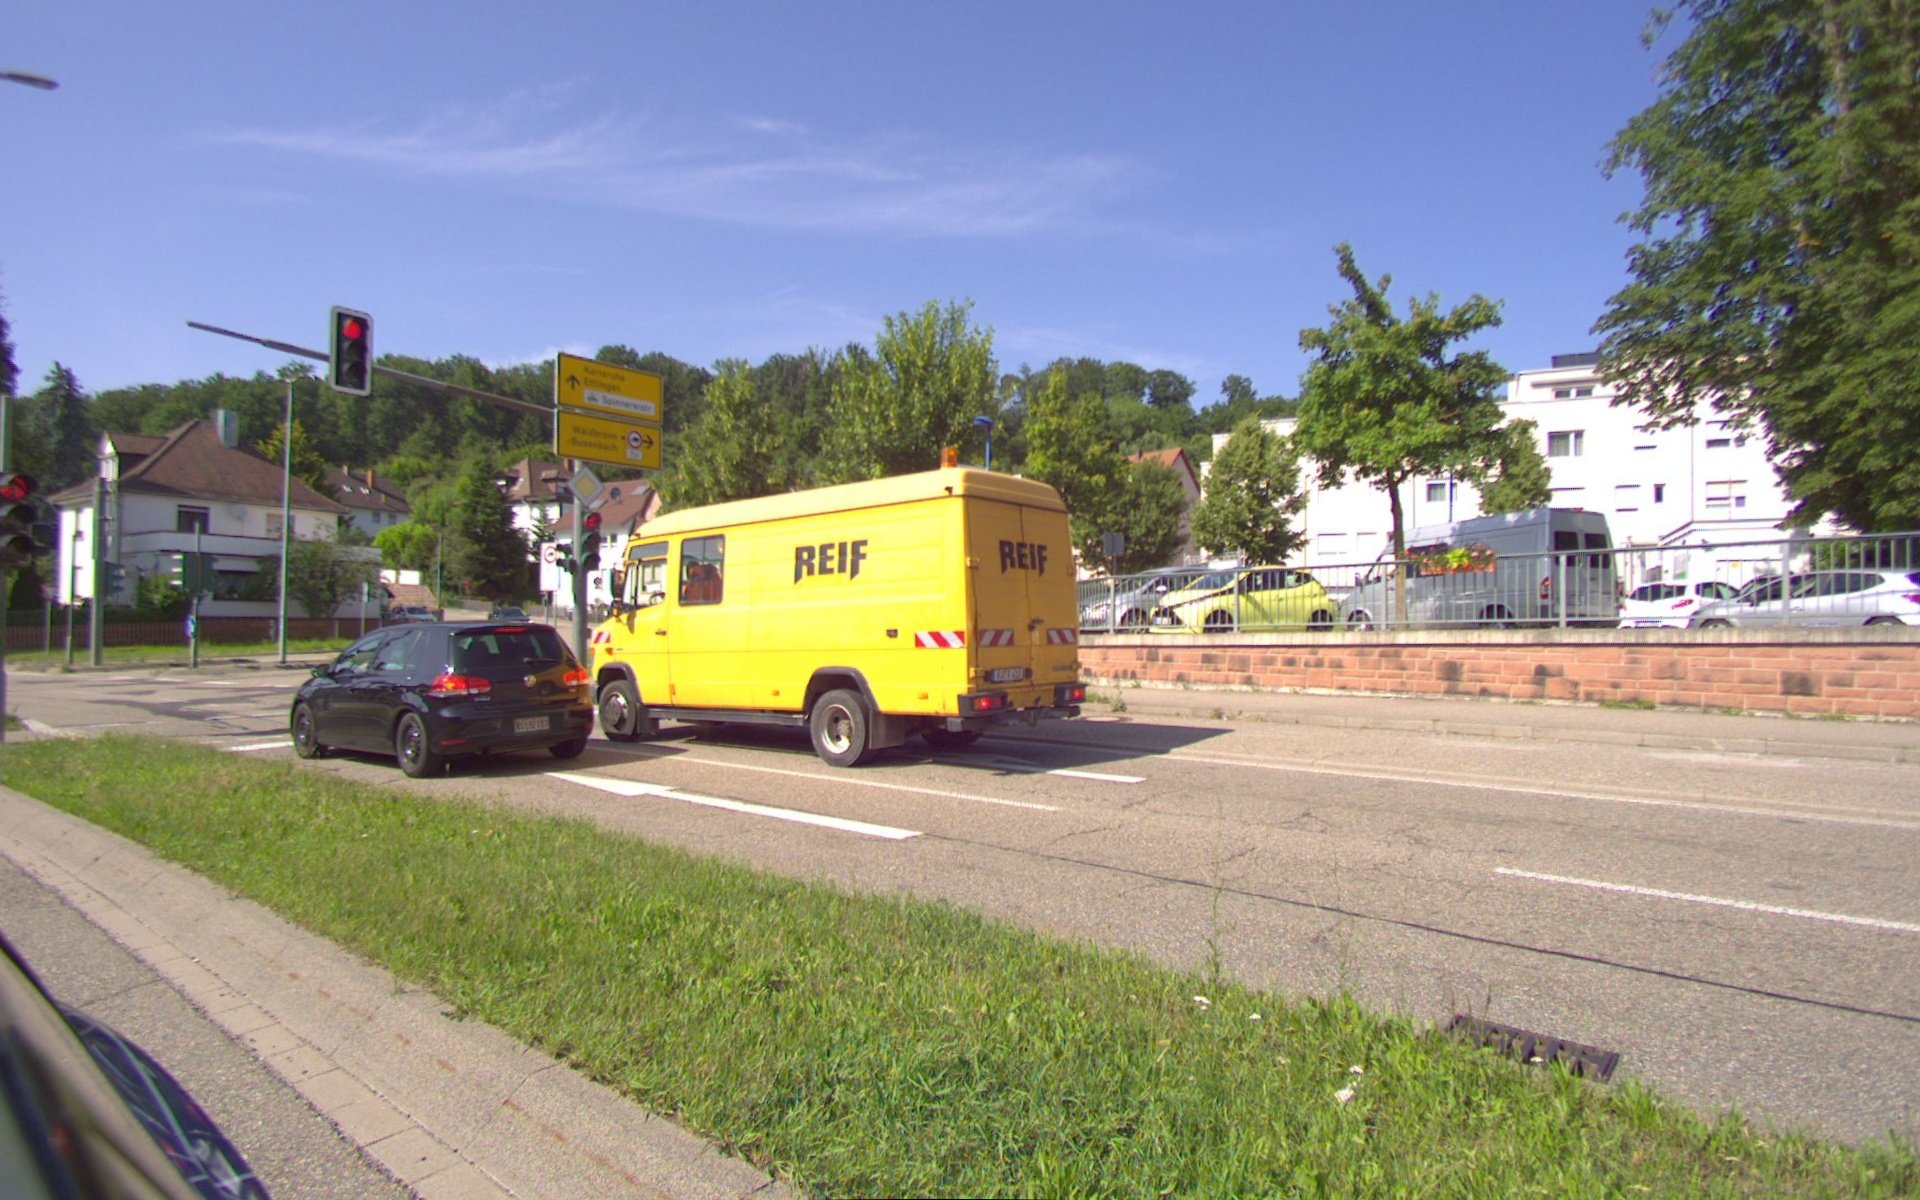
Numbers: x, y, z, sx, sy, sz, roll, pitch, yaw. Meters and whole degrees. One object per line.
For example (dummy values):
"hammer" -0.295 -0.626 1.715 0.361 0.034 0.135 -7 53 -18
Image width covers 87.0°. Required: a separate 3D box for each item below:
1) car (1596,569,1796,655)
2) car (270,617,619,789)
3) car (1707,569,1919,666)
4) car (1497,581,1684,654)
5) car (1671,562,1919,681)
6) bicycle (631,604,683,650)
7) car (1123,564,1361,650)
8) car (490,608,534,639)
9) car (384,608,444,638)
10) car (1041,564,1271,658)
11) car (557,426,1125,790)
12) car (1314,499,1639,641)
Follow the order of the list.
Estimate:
"car" 16.790 0.264 23.088 3.931 1.714 1.920 -3 -1 -24
"car" -5.506 0.941 10.626 4.037 1.474 1.729 -2 -2 38
"car" 17.351 0.311 20.183 3.931 1.684 2.006 -2 -1 -19
"car" 15.758 0.424 25.320 3.931 1.571 1.920 -2 -1 -21
"car" 14.881 0.365 17.338 1.888 1.803 4.013 0 -1 -21
"bicycle" -9.310 0.846 31.071 1.756 1.265 0.612 -5 0 42
"car" 5.329 0.126 19.210 3.931 1.392 1.920 -2 -1 -21
"car" -26.529 1.364 59.831 1.947 1.495 4.766 -2 3 -29
"car" -33.075 1.424 61.252 3.999 1.649 1.914 -3 -1 42
"car" 4.171 0.188 21.656 4.339 1.709 2.064 -3 0 -21
"car" -1.627 0.111 11.396 6.456 3.033 2.444 -1 0 38
"car" 10.137 -0.490 20.570 2.064 2.462 5.803 -2 -1 -23
